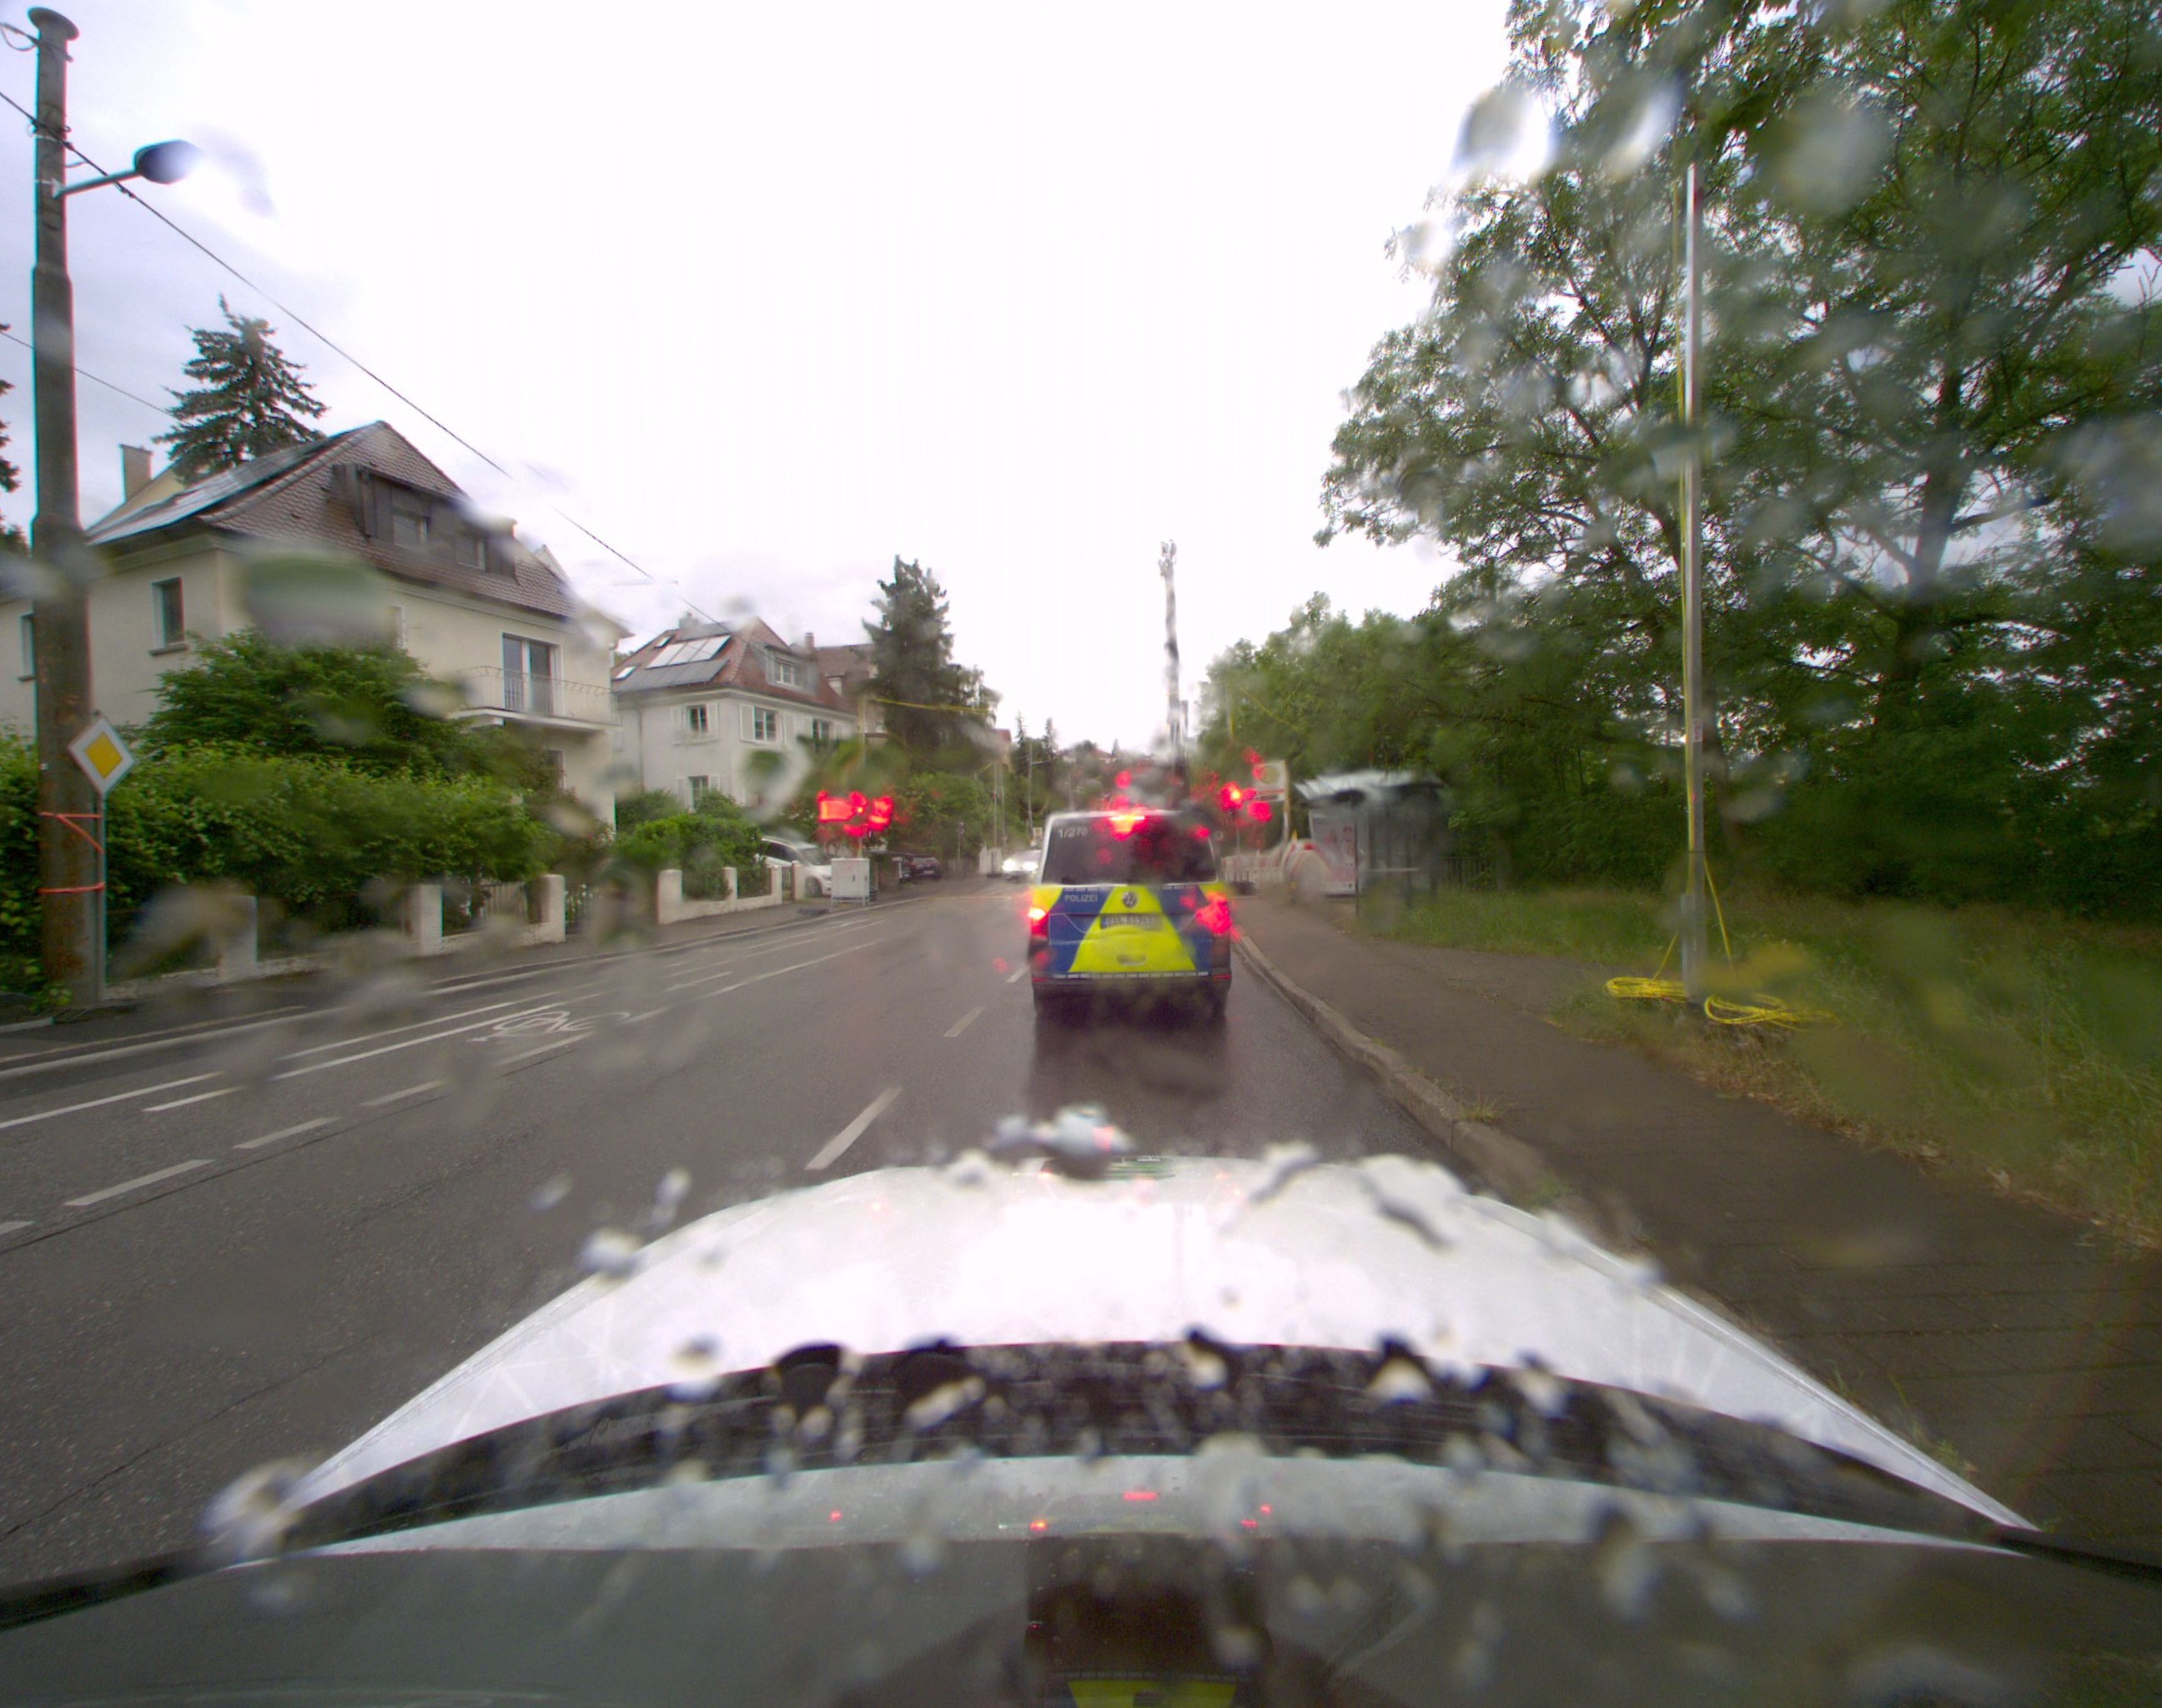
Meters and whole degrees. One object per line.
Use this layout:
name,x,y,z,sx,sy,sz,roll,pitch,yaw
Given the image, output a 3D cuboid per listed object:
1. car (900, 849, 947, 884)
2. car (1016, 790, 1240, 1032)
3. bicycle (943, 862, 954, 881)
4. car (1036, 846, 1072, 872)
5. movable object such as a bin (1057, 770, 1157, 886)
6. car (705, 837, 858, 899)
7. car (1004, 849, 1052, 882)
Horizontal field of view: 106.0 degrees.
car,-7.453,0.560,38.300,1.770,1.486,3.720,0,1,-17
car,0.463,0.484,8.942,1.886,2.050,4.002,0,0,2
bicycle,-6.499,0.830,39.890,0.463,0.897,1.627,-1,0,-12
car,-1.765,0.322,54.721,1.857,1.621,4.171,-1,0,5
movable object such as a bin,1.107,-0.927,31.772,2.809,4.177,4.400,0,0,17
car,-10.279,0.462,28.057,4.599,2.007,1.907,0,0,13
car,-2.587,0.553,40.558,1.845,1.527,4.823,0,0,3
